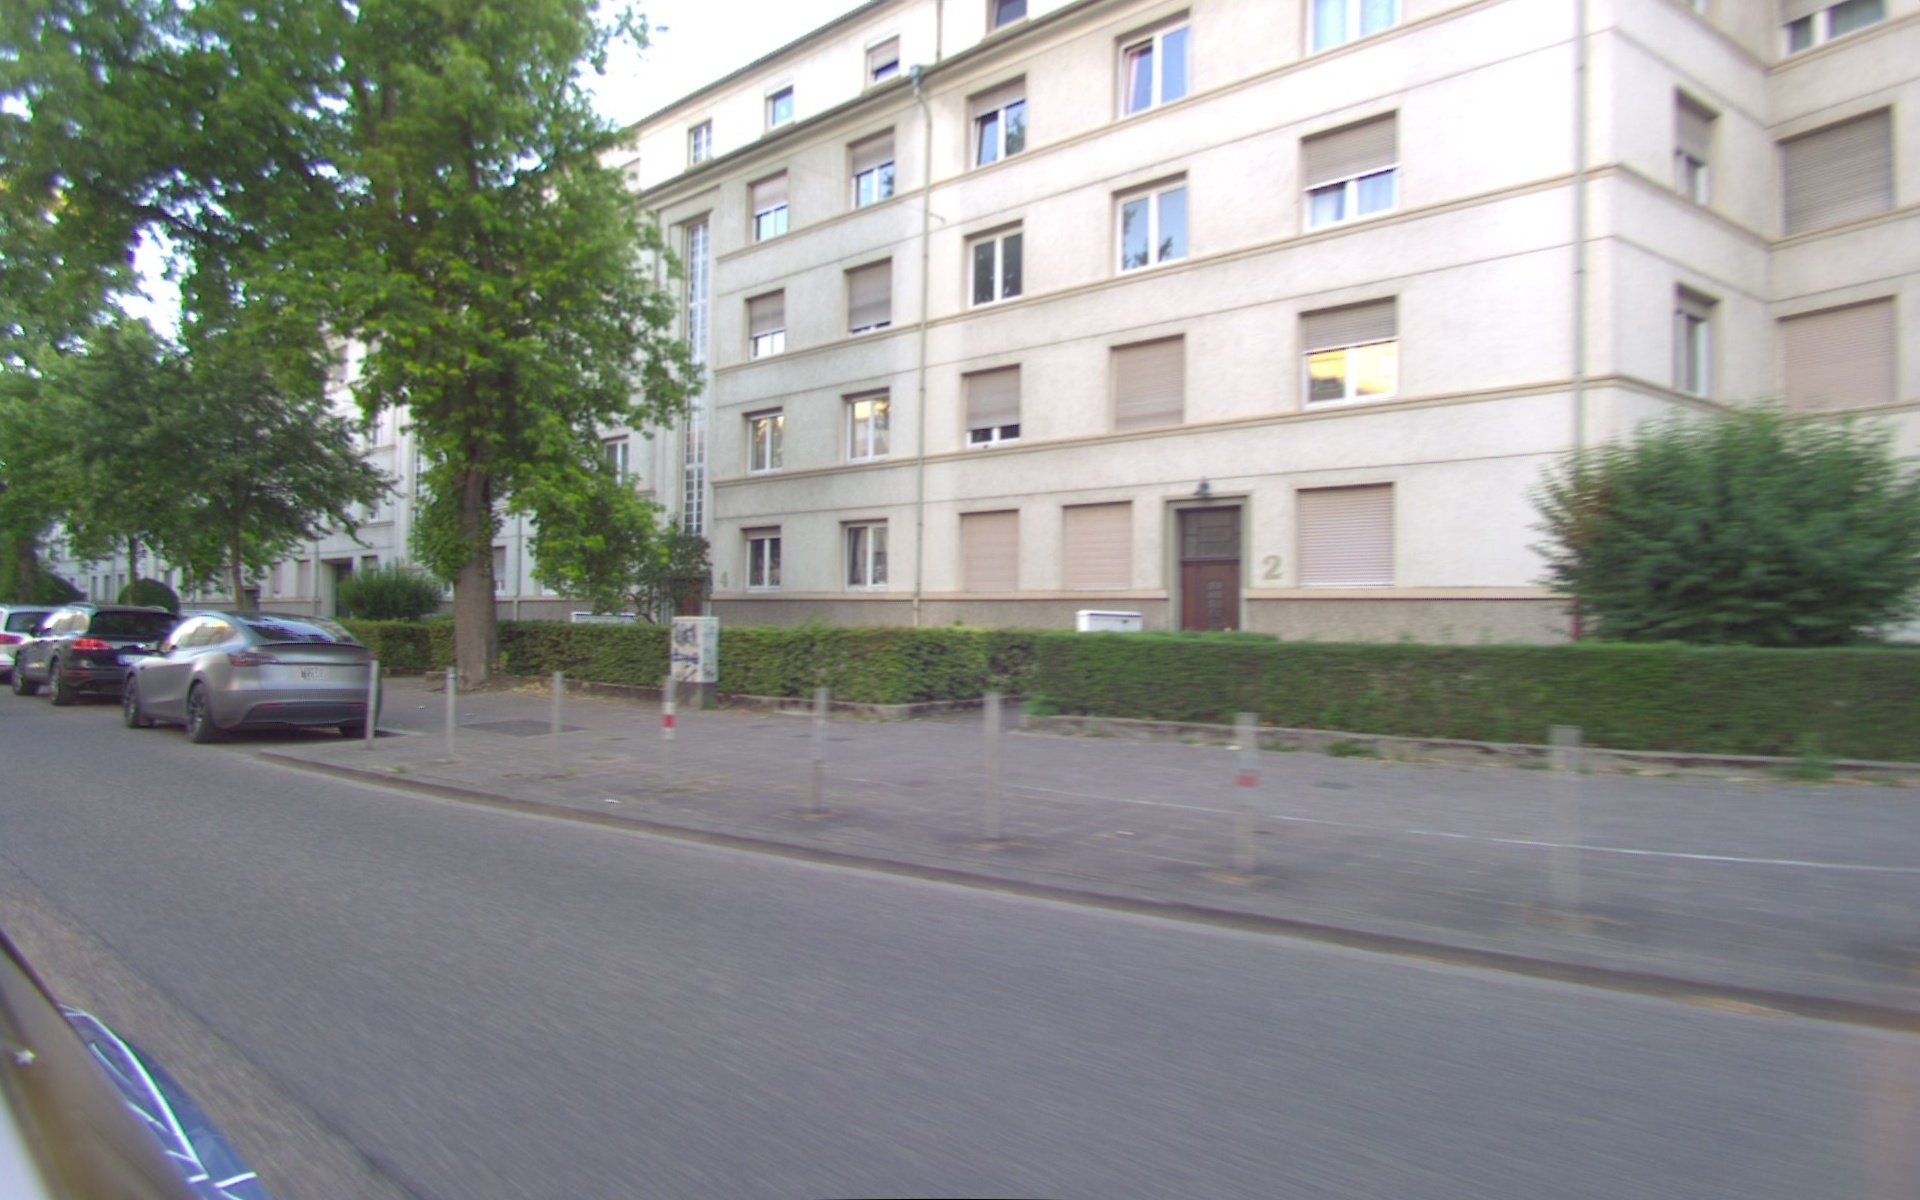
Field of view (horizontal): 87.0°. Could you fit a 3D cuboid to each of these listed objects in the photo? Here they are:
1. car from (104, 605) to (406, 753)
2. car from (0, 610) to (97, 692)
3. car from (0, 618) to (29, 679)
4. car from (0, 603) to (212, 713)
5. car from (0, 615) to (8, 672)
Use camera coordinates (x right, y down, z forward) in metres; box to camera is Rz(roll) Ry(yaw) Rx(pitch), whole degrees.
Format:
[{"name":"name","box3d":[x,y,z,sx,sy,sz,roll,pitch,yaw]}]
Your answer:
[{"name":"car","box3d":[-9.382,0.948,13.335,4.599,1.629,1.935,-1,-4,38]},{"name":"car","box3d":[-21.497,1.107,22.942,4.850,1.704,1.829,-1,-4,37]},{"name":"car","box3d":[-25.638,1.209,26.304,4.270,1.508,1.714,-1,-4,43]},{"name":"car","box3d":[-15.485,0.994,18.257,4.764,1.732,1.935,-1,-4,38]},{"name":"car","box3d":[-29.441,1.203,29.589,4.111,1.613,1.690,-1,-5,39]}]
